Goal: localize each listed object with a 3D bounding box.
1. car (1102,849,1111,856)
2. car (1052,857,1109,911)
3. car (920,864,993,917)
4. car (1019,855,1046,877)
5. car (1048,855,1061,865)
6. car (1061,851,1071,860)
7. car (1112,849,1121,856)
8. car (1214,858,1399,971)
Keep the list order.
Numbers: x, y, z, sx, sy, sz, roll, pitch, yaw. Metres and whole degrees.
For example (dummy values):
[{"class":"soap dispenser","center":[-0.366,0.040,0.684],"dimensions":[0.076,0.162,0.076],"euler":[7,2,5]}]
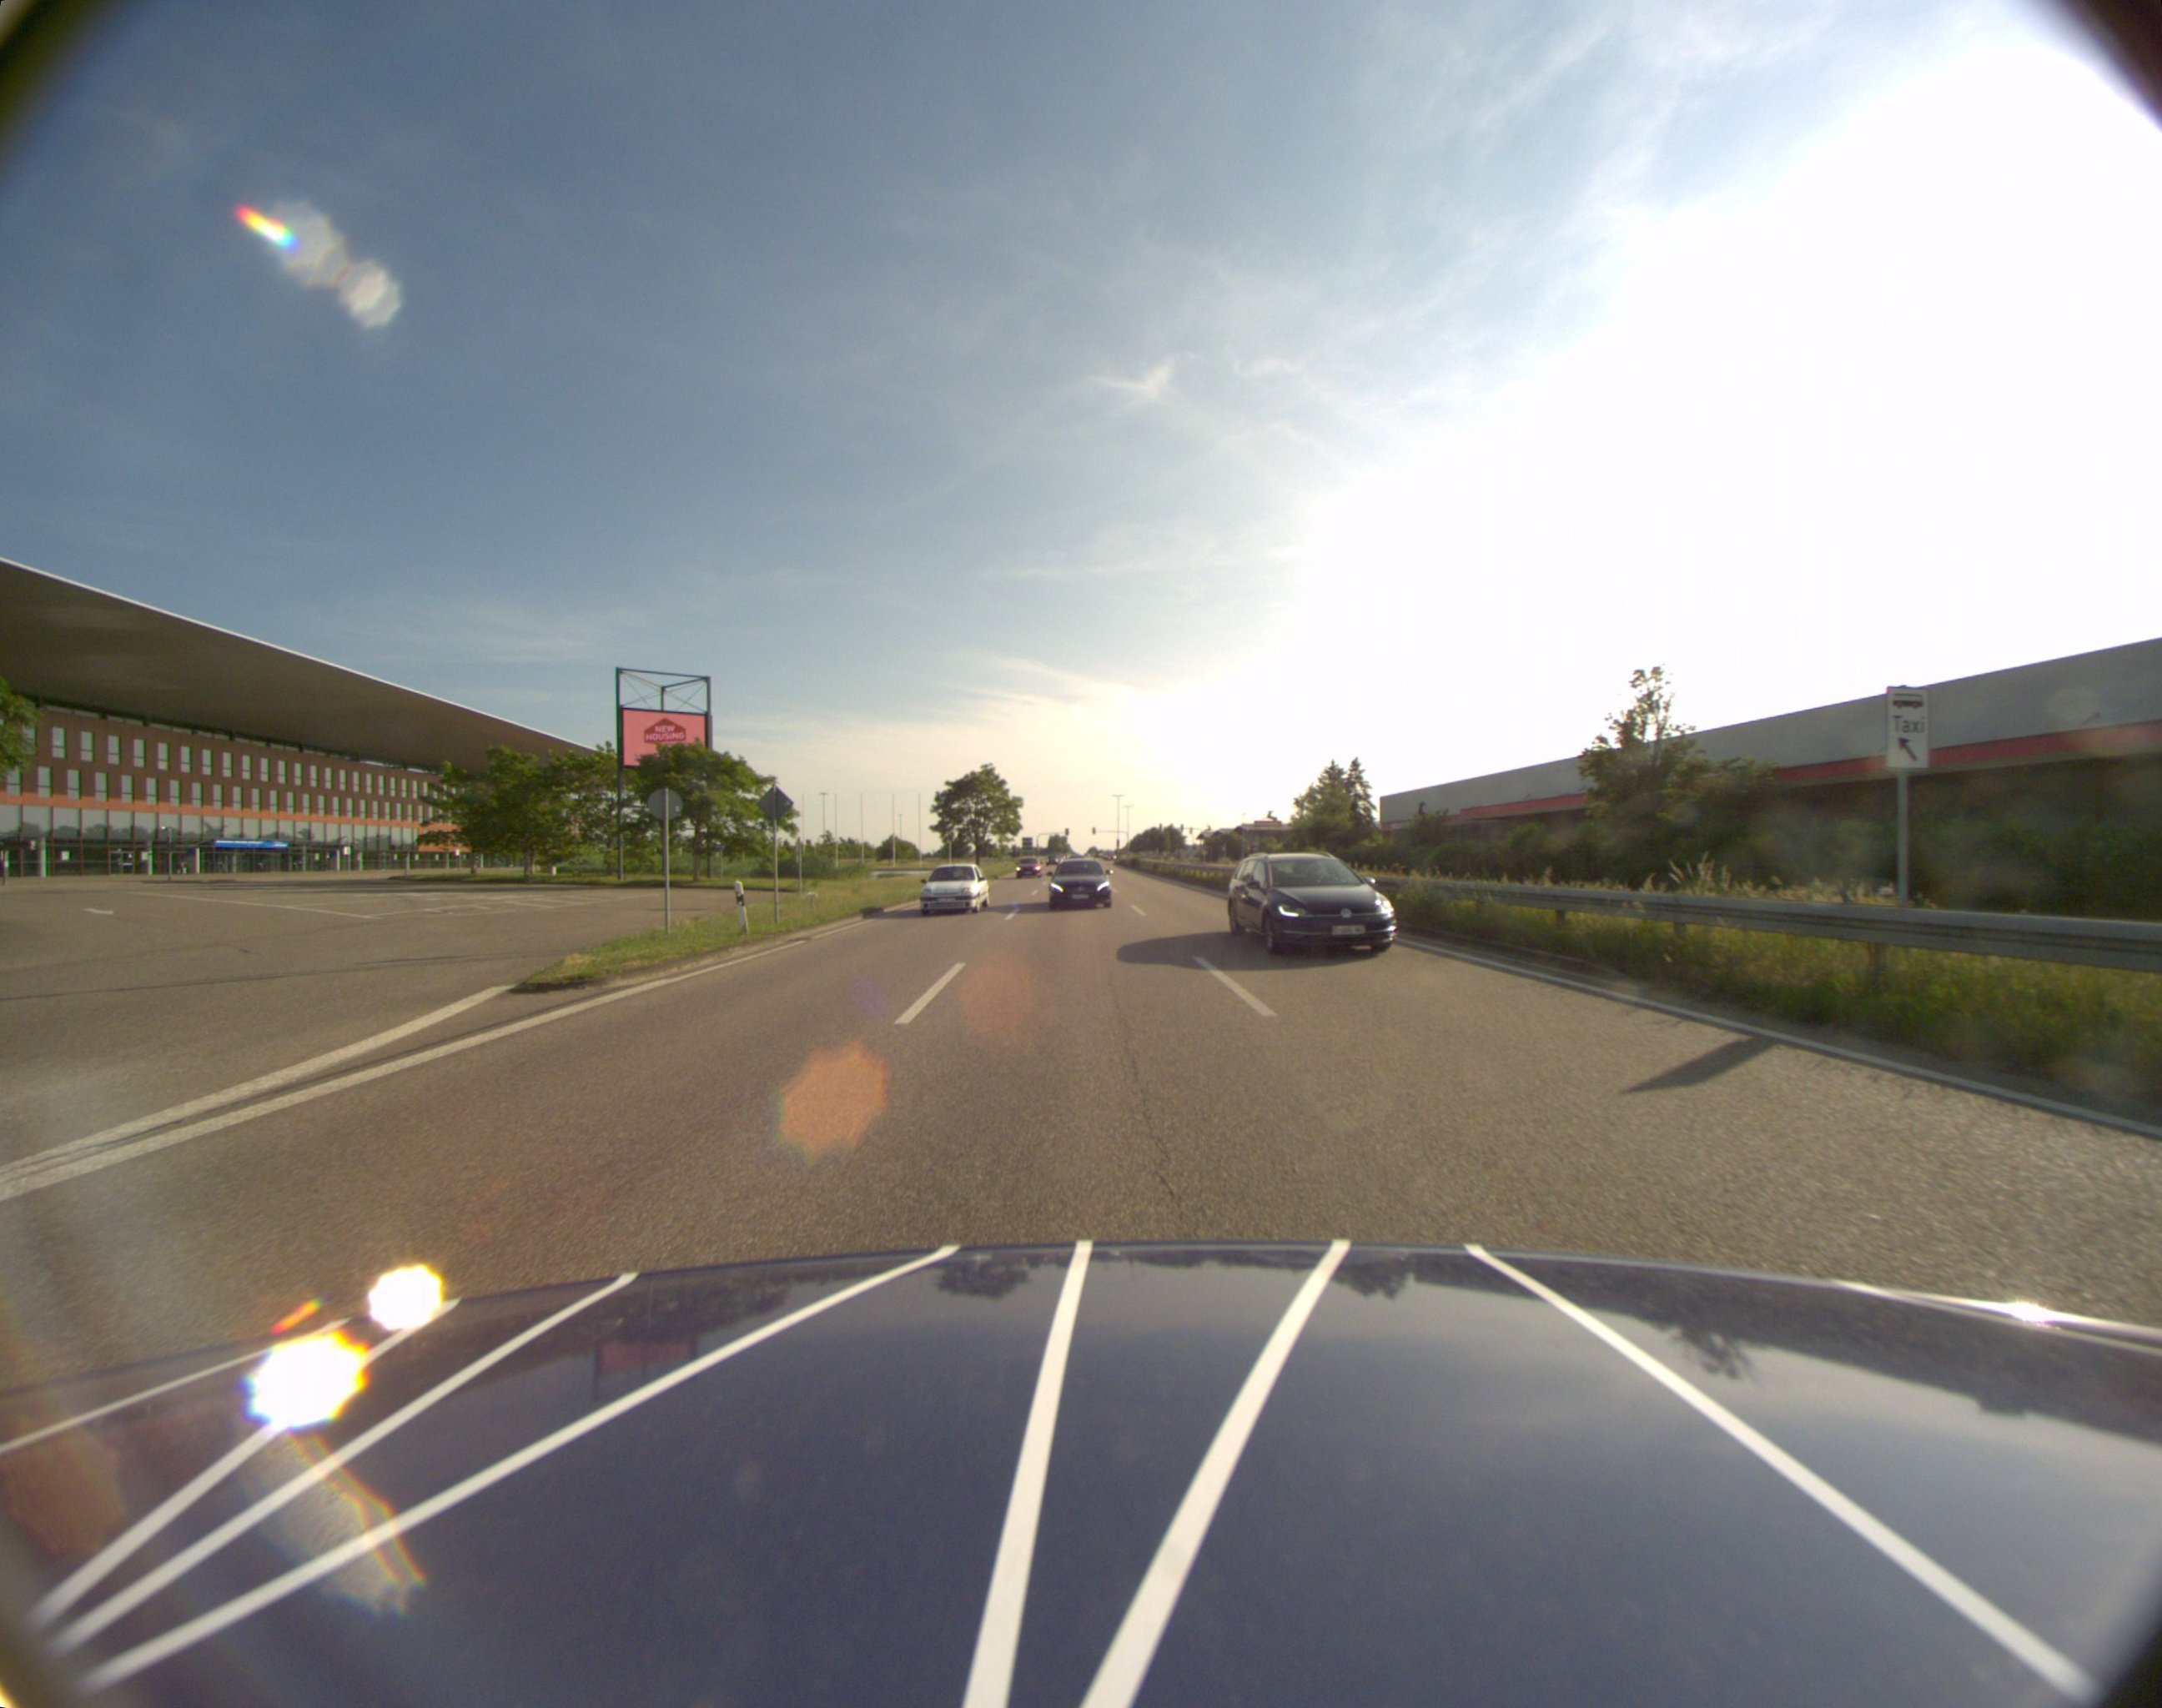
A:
[{"class":"car","center":[6.363,-0.339,189.614],"dimensions":[1.751,1.512,3.738],"euler":[-1,0,-2]},{"class":"car","center":[0.000,0.854,23.740],"dimensions":[1.577,1.462,5.022],"euler":[-1,0,0]},{"class":"car","center":[-3.617,1.031,22.580],"dimensions":[1.578,1.371,3.451],"euler":[-1,0,0]},{"class":"car","center":[-3.558,0.877,56.508],"dimensions":[1.751,1.512,3.739],"euler":[-1,0,0]},{"class":"car","center":[-3.948,0.892,112.772],"dimensions":[1.751,1.512,3.739],"euler":[-1,0,0]},{"class":"car","center":[-2.871,0.293,143.691],"dimensions":[1.751,1.512,3.739],"euler":[-1,0,0]},{"class":"car","center":[7.277,-0.315,155.453],"dimensions":[1.711,1.428,3.564],"euler":[-1,0,0]},{"class":"car","center":[3.461,0.831,12.645],"dimensions":[1.650,1.462,4.775],"euler":[-1,0,0]}]
